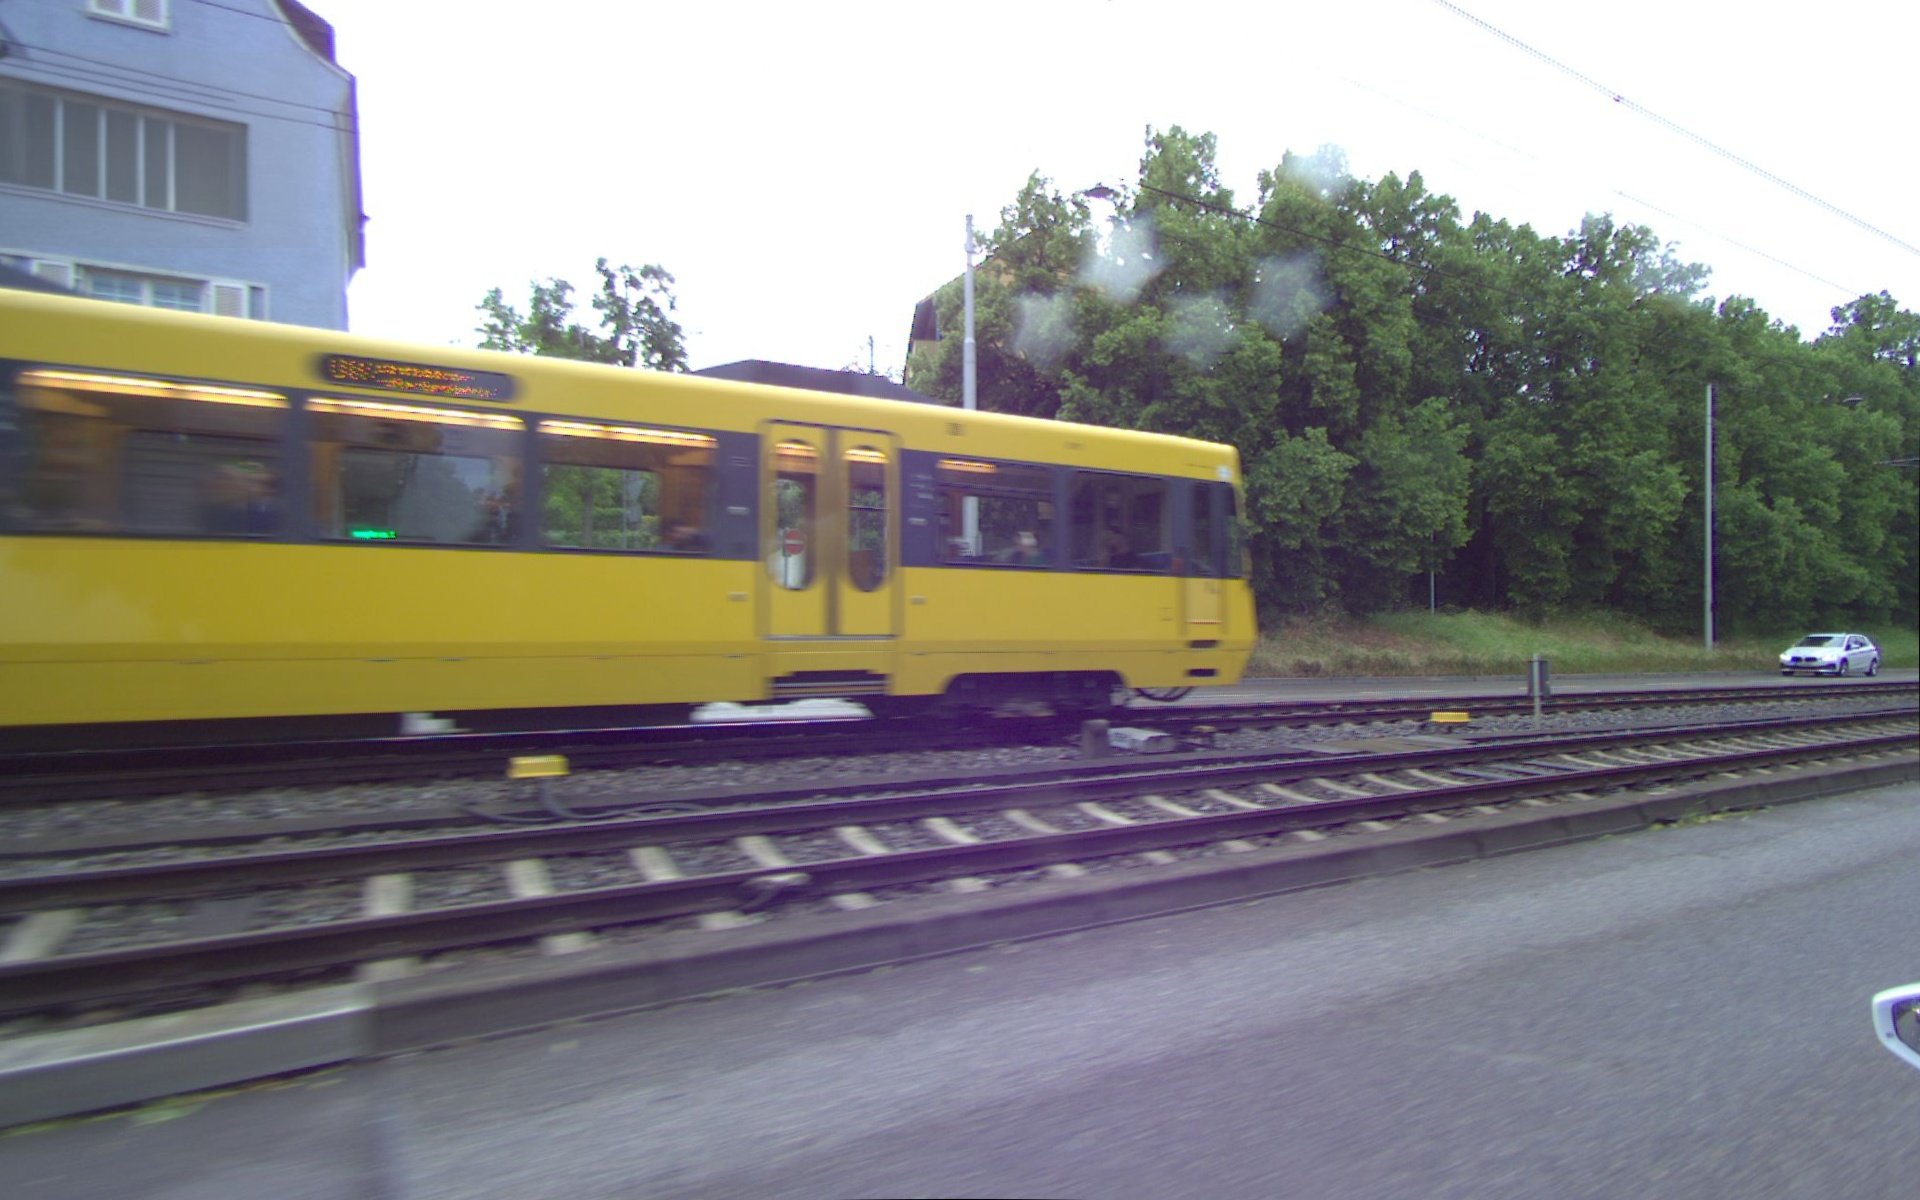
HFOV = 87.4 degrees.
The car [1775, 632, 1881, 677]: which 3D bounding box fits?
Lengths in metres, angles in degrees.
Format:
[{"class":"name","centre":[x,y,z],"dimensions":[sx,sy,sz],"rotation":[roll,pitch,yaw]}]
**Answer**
[{"class":"car","centre":[31.890,1.955,36.883],"dimensions":[4.328,1.550,1.645],"rotation":[1,-1,-30]}]

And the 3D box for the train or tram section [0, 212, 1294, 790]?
[{"class":"train or tram section","centre":[-4.925,-0.628,9.243],"dimensions":[19.280,3.861,2.955],"rotation":[1,0,-29]}]

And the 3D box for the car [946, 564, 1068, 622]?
[{"class":"car","centre":[1.726,-0.223,37.297],"dimensions":[4.145,2.040,1.962],"rotation":[1,-1,-14]}]
